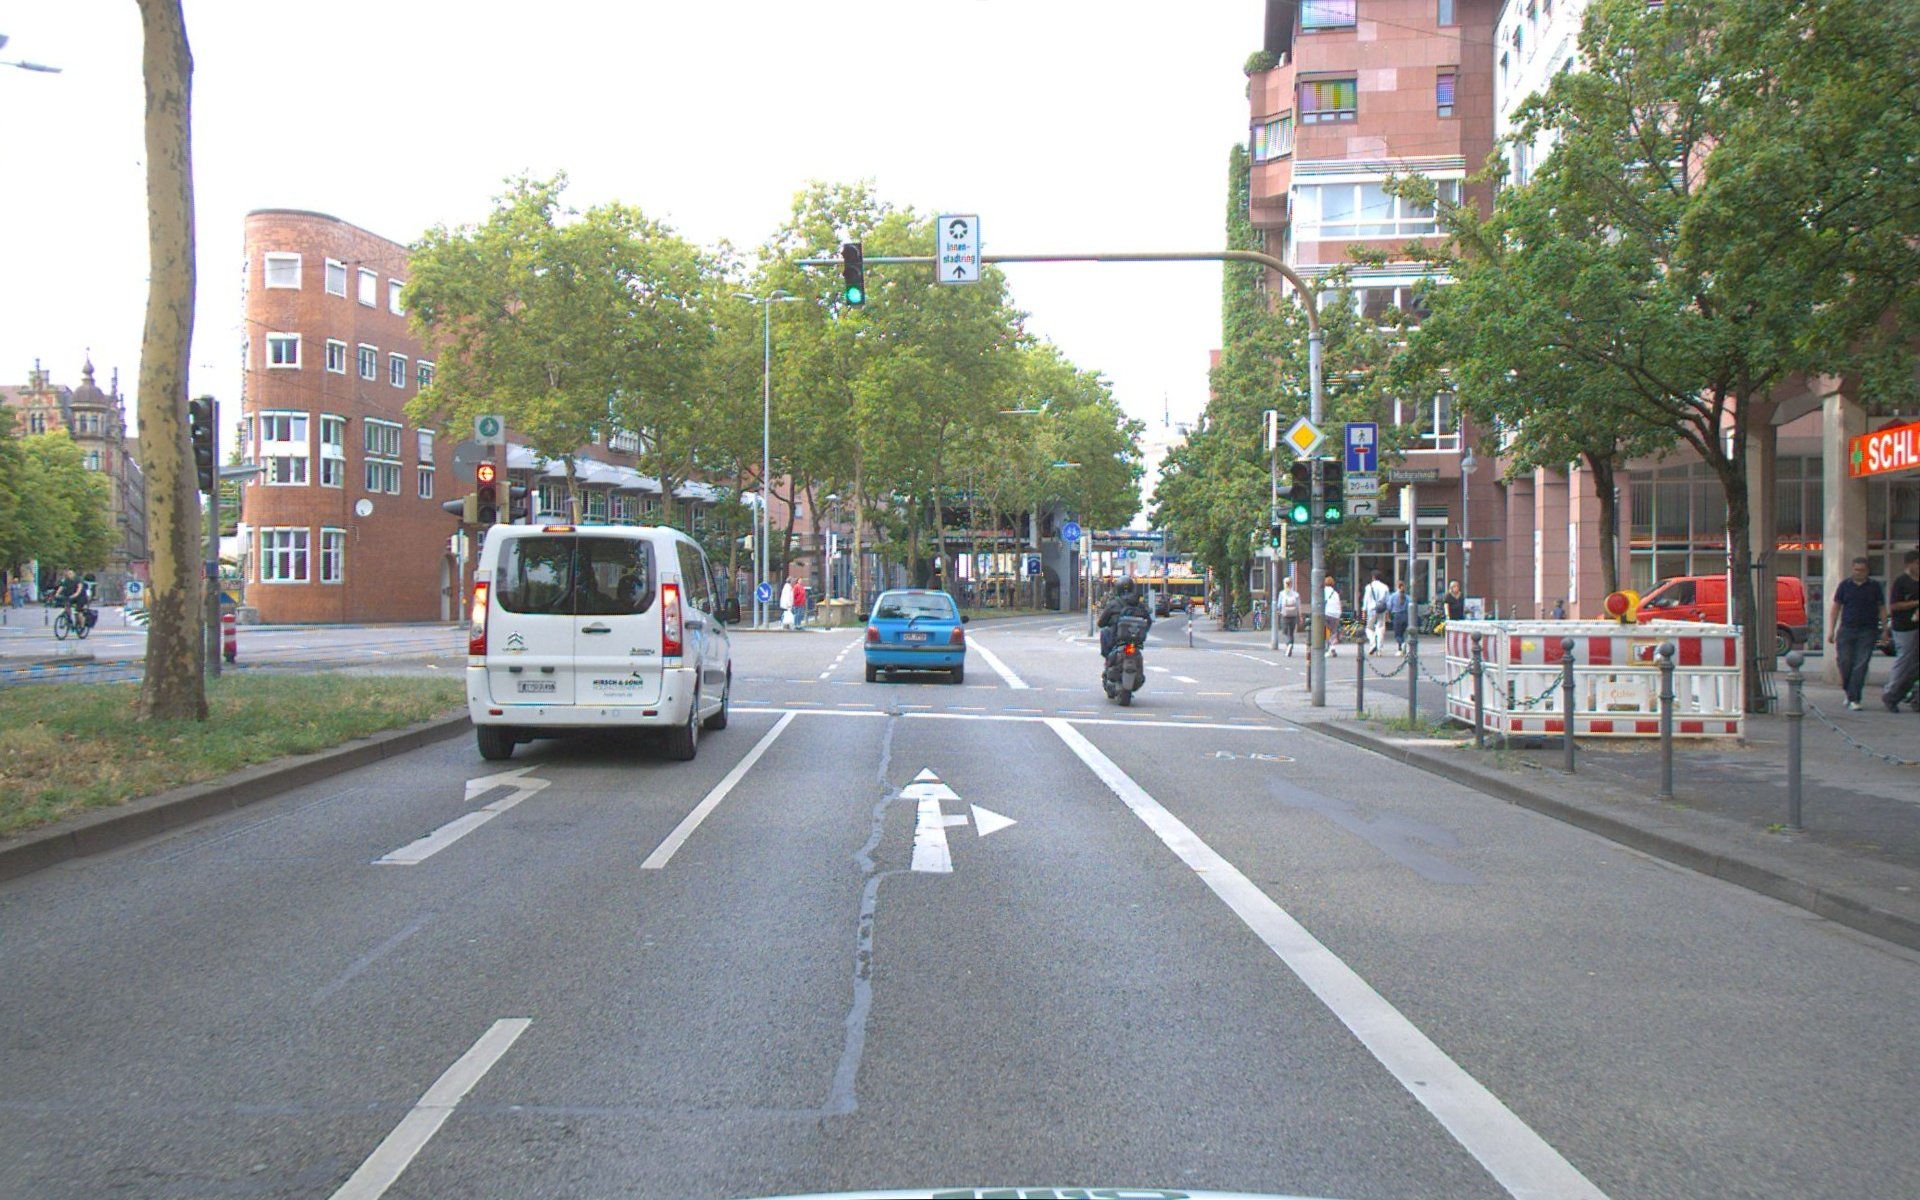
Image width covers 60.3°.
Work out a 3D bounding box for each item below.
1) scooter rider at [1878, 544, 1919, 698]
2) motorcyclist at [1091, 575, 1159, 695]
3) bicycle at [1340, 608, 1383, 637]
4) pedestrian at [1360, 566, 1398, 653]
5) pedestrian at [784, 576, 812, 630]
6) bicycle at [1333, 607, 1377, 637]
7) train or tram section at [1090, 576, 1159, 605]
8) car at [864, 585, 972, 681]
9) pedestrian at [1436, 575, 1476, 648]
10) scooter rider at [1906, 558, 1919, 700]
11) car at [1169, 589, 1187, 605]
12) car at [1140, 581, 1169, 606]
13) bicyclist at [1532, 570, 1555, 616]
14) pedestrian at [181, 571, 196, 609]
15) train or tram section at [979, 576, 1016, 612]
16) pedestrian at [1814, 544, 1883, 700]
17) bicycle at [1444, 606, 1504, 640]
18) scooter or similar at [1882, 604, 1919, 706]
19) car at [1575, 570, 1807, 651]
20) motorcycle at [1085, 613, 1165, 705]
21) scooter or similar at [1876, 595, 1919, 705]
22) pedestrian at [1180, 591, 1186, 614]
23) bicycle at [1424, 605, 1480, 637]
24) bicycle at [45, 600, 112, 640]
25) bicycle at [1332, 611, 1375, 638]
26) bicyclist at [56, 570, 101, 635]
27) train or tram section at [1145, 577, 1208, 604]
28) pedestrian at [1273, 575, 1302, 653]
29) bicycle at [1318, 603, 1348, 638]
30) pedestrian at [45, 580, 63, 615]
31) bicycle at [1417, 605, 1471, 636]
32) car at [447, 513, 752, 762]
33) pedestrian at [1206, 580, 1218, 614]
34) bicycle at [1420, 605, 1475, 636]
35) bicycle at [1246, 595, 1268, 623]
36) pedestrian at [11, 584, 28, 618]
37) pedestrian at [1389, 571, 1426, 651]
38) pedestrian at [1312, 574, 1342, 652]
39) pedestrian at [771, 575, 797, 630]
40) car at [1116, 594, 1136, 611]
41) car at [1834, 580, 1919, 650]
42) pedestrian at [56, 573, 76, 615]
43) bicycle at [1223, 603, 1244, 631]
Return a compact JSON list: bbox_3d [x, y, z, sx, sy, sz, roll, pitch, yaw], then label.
[{"bbox_3d":[10.945,0.232,19.048,0.453,1.750,0.553,0,0,3],"label":"scooter rider"},{"bbox_3d":[2.168,0.454,21.876,0.744,1.545,1.017,-1,0,-2],"label":"motorcyclist"},{"bbox_3d":[12.351,0.689,50.872,1.271,0.852,0.454,0,0,16],"label":"bicycle"},{"bbox_3d":[9.080,0.206,35.865,0.662,1.860,0.851,0,0,5],"label":"pedestrian"},{"bbox_3d":[-5.301,0.091,54.147,0.542,1.748,0.890,0,0,25],"label":"pedestrian"},{"bbox_3d":[12.435,0.680,52.020,1.272,0.883,0.454,-3,-1,21],"label":"bicycle"},{"bbox_3d":[19.607,-1.142,197.088,8.714,3.310,2.368,0,0,-35],"label":"train or tram section"},{"bbox_3d":[-0.664,0.474,26.714,1.607,1.410,3.842,0,1,-1],"label":"car"},{"bbox_3d":[10.777,0.246,35.940,0.661,1.565,0.948,0,0,6],"label":"pedestrian"},{"bbox_3d":[10.937,0.322,18.467,0.451,1.584,0.565,0,0,3],"label":"scooter rider"},{"bbox_3d":[22.169,-0.326,168.344,1.662,1.629,4.004,0,0,10],"label":"car"},{"bbox_3d":[13.195,-0.455,112.133,1.662,1.629,4.004,0,0,10],"label":"car"},{"bbox_3d":[15.903,-0.193,45.066,0.488,1.266,0.479,0,0,36],"label":"bicyclist"},{"bbox_3d":[-38.225,-0.484,81.944,0.684,1.849,0.650,0,0,-28],"label":"pedestrian"},{"bbox_3d":[3.591,-0.526,156.813,2.338,3.310,8.825,0,0,9],"label":"train or tram section"},{"bbox_3d":[10.620,0.253,19.784,0.539,1.831,0.658,0,0,9],"label":"pedestrian"},{"bbox_3d":[15.854,0.704,51.006,1.693,1.026,0.547,0,0,5],"label":"bicycle"},{"bbox_3d":[11.581,0.645,19.732,0.542,1.190,1.407,0,0,7],"label":"scooter or similar"},{"bbox_3d":[17.373,0.263,39.548,4.723,1.857,2.001,0,-1,11],"label":"car"},{"bbox_3d":[2.167,0.749,21.924,0.752,1.126,2.207,-1,0,-2],"label":"motorcycle"},{"bbox_3d":[10.951,0.554,18.742,0.464,1.227,1.331,0,0,3],"label":"scooter or similar"},{"bbox_3d":[17.678,0.194,131.155,0.499,1.790,0.539,0,0,9],"label":"pedestrian"},{"bbox_3d":[16.076,0.672,54.028,1.693,1.026,0.472,0,0,5],"label":"bicycle"},{"bbox_3d":[-25.683,0.567,48.251,0.663,1.112,2.210,-1,1,3],"label":"bicycle"},{"bbox_3d":[12.252,0.762,51.479,1.272,0.828,0.444,0,0,21],"label":"bicycle"},{"bbox_3d":[-25.688,0.061,48.203,0.653,1.880,1.081,-1,0,3],"label":"bicyclist"},{"bbox_3d":[26.480,-1.145,201.927,8.260,3.310,2.368,0,0,-35],"label":"train or tram section"},{"bbox_3d":[6.981,0.292,35.283,0.506,1.644,0.851,0,0,3],"label":"pedestrian"},{"bbox_3d":[11.185,0.611,49.663,0.604,1.026,1.736,0,0,3],"label":"bicycle"},{"bbox_3d":[-53.715,-0.148,98.090,0.852,2.049,1.333,0,0,-26],"label":"pedestrian"},{"bbox_3d":[16.101,0.669,55.048,1.693,1.026,0.431,0,0,5],"label":"bicycle"},{"bbox_3d":[-3.147,0.258,15.517,1.893,1.959,4.954,0,1,-2],"label":"car"},{"bbox_3d":[13.987,-0.173,91.768,0.633,1.891,0.783,0,0,8],"label":"pedestrian"},{"bbox_3d":[16.075,0.670,54.545,1.693,1.026,0.438,0,0,5],"label":"bicycle"},{"bbox_3d":[10.995,0.335,61.246,0.604,1.026,1.736,0,0,4],"label":"bicycle"},{"bbox_3d":[-46.343,0.040,81.478,0.684,1.700,0.824,0,0,-28],"label":"pedestrian"},{"bbox_3d":[9.767,0.238,36.112,0.638,1.730,1.023,0,0,6],"label":"pedestrian"},{"bbox_3d":[7.797,0.264,35.171,0.506,1.644,0.851,0,0,5],"label":"pedestrian"},{"bbox_3d":[-5.666,0.084,53.299,0.541,1.748,0.891,0,0,16],"label":"pedestrian"},{"bbox_3d":[17.313,0.245,172.496,1.846,1.652,4.004,0,0,10],"label":"car"},{"bbox_3d":[23.331,0.365,38.692,4.723,1.618,2.001,0,-2,11],"label":"car"},{"bbox_3d":[-41.875,-0.284,77.453,0.780,1.998,0.799,0,0,-26],"label":"pedestrian"},{"bbox_3d":[10.142,0.630,61.313,0.604,1.026,1.736,0,0,4],"label":"bicycle"}]
